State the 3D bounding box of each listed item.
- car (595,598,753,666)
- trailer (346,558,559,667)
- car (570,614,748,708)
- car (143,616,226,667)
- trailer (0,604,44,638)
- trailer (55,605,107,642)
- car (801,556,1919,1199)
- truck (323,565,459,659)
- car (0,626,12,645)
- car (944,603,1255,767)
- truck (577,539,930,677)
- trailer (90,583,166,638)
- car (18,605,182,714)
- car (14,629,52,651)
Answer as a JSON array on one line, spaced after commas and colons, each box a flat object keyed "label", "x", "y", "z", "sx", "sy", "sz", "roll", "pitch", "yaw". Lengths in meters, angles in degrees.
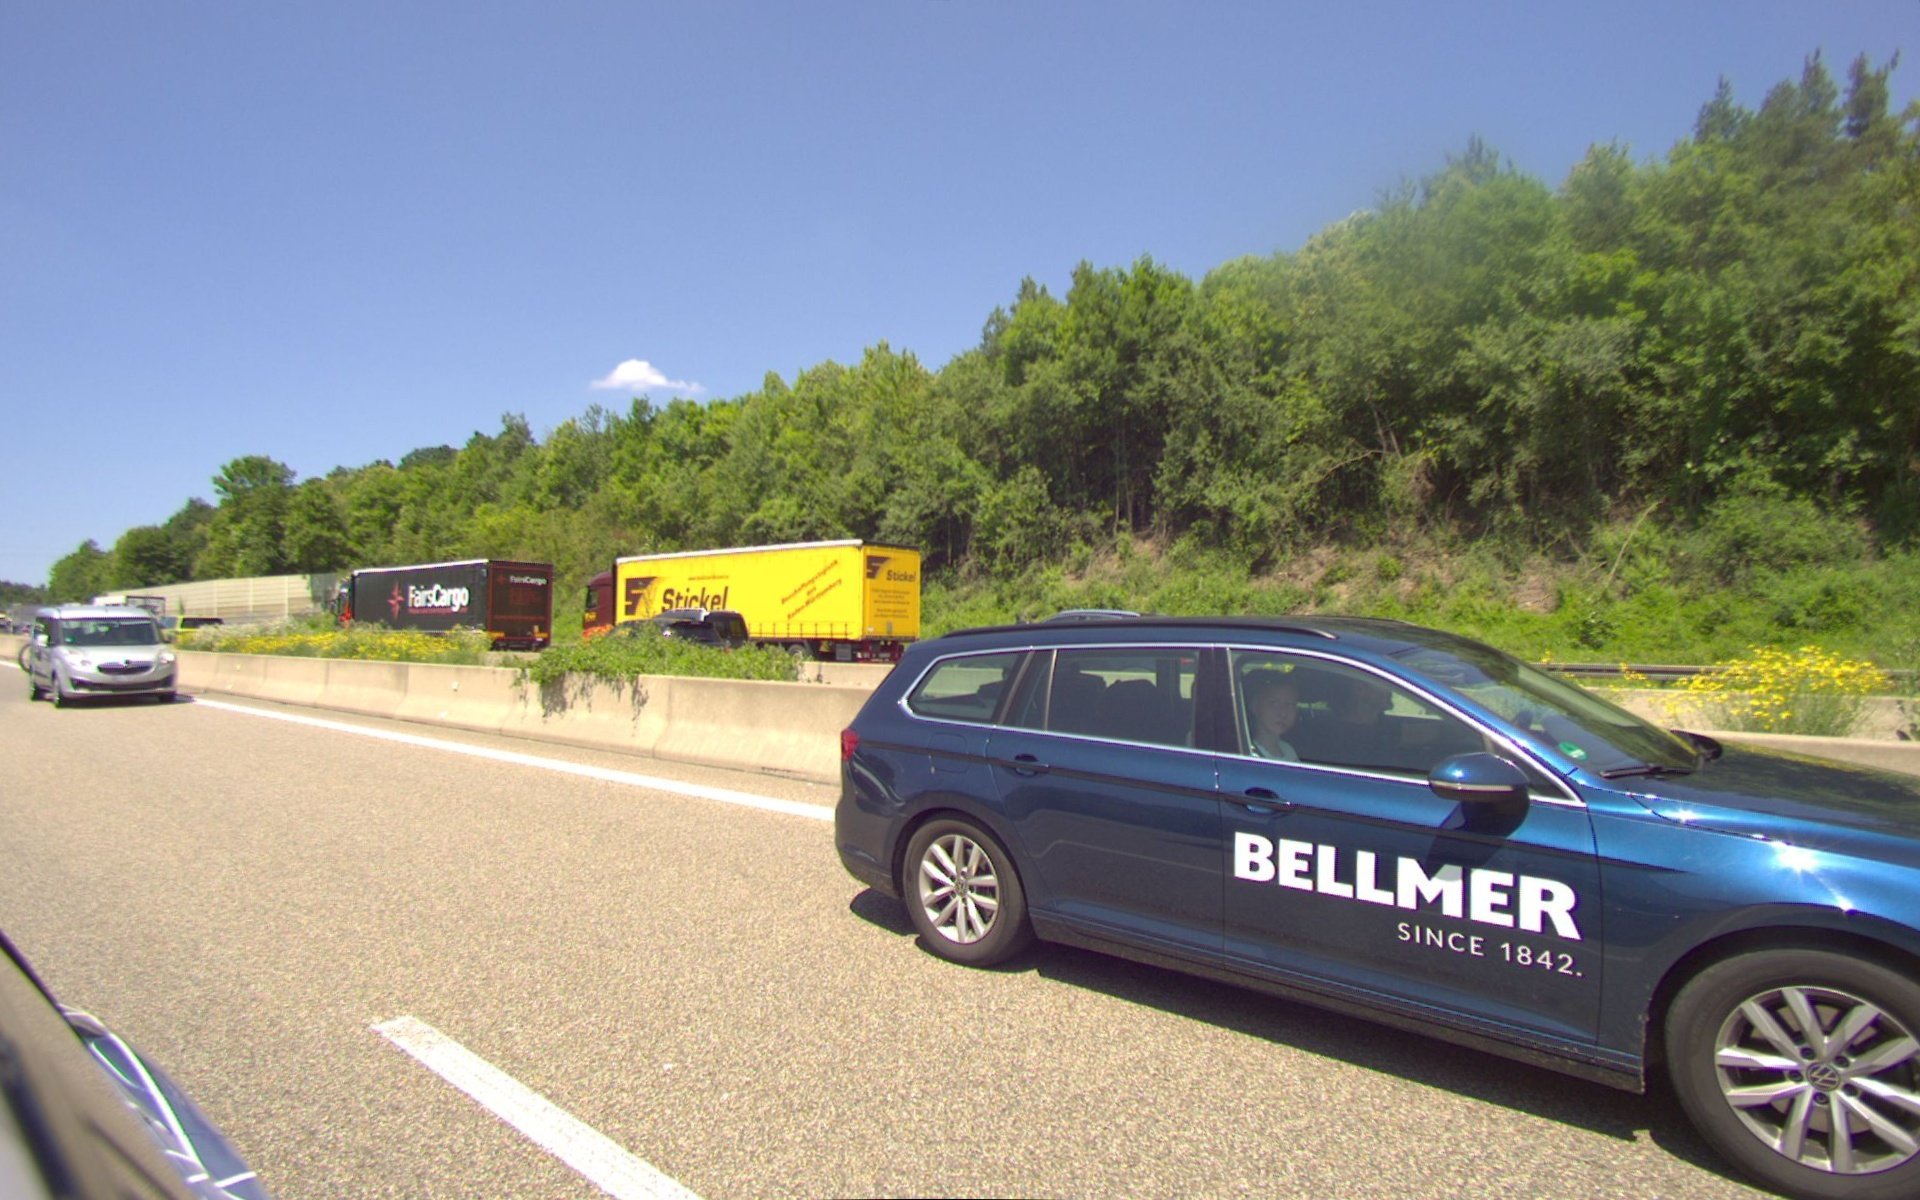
[{"label": "car", "x": -7.304, "y": 0.796, "z": 25.618, "sx": 4.420, "sy": 1.570, "sz": 1.667, "roll": 0, "pitch": -3, "yaw": 41}, {"label": "trailer", "x": -21.875, "y": 0.575, "z": 42.911, "sx": 13.880, "sy": 4.004, "sz": 2.876, "roll": 0, "pitch": -3, "yaw": 41}, {"label": "car", "x": -5.870, "y": 1.125, "z": 19.590, "sx": 3.541, "sy": 1.639, "sz": 1.625, "roll": 0, "pitch": -3, "yaw": 41}, {"label": "car", "x": -33.196, "y": 1.767, "z": 43.262, "sx": 4.466, "sy": 2.029, "sz": 1.860, "roll": 0, "pitch": -4, "yaw": 41}, {"label": "trailer", "x": -123.466, "y": 2.749, "z": 132.968, "sx": 14.734, "sy": 4.197, "sz": 2.805, "roll": -1, "pitch": -3, "yaw": 42}, {"label": "trailer", "x": -104.224, "y": 2.731, "z": 119.894, "sx": 12.619, "sy": 4.078, "sz": 2.778, "roll": 0, "pitch": -3, "yaw": 41}, {"label": "car", "x": 1.603, "y": 0.680, "z": 3.809, "sx": 4.727, "sy": 1.438, "sz": 1.714, "roll": -1, "pitch": -3, "yaw": 41}, {"label": "truck", "x": -26.485, "y": 0.594, "z": 46.954, "sx": 7.764, "sy": 4.004, "sz": 2.876, "roll": 0, "pitch": -3, "yaw": 41}, {"label": "car", "x": -91.631, "y": 3.388, "z": 96.118, "sx": 4.784, "sy": 1.769, "sz": 1.864, "roll": -2, "pitch": -2, "yaw": 41}, {"label": "car", "x": 1.933, "y": 1.105, "z": 14.589, "sx": 3.998, "sy": 2.029, "sz": 1.973, "roll": -1, "pitch": -3, "yaw": 41}, {"label": "truck", "x": -8.056, "y": 0.324, "z": 35.984, "sx": 16.257, "sy": 4.013, "sz": 3.005, "roll": 0, "pitch": -2, "yaw": 41}, {"label": "trailer", "x": -71.465, "y": 0.918, "z": 86.741, "sx": 14.032, "sy": 4.371, "sz": 2.773, "roll": 0, "pitch": -3, "yaw": 42}, {"label": "car", "x": -16.329, "y": 1.063, "z": 19.156, "sx": 3.998, "sy": 1.858, "sz": 1.757, "roll": -1, "pitch": -2, "yaw": 41}, {"label": "car", "x": -67.440, "y": 2.886, "z": 73.615, "sx": 3.997, "sy": 1.530, "sz": 1.547, "roll": -2, "pitch": -3, "yaw": 41}]
